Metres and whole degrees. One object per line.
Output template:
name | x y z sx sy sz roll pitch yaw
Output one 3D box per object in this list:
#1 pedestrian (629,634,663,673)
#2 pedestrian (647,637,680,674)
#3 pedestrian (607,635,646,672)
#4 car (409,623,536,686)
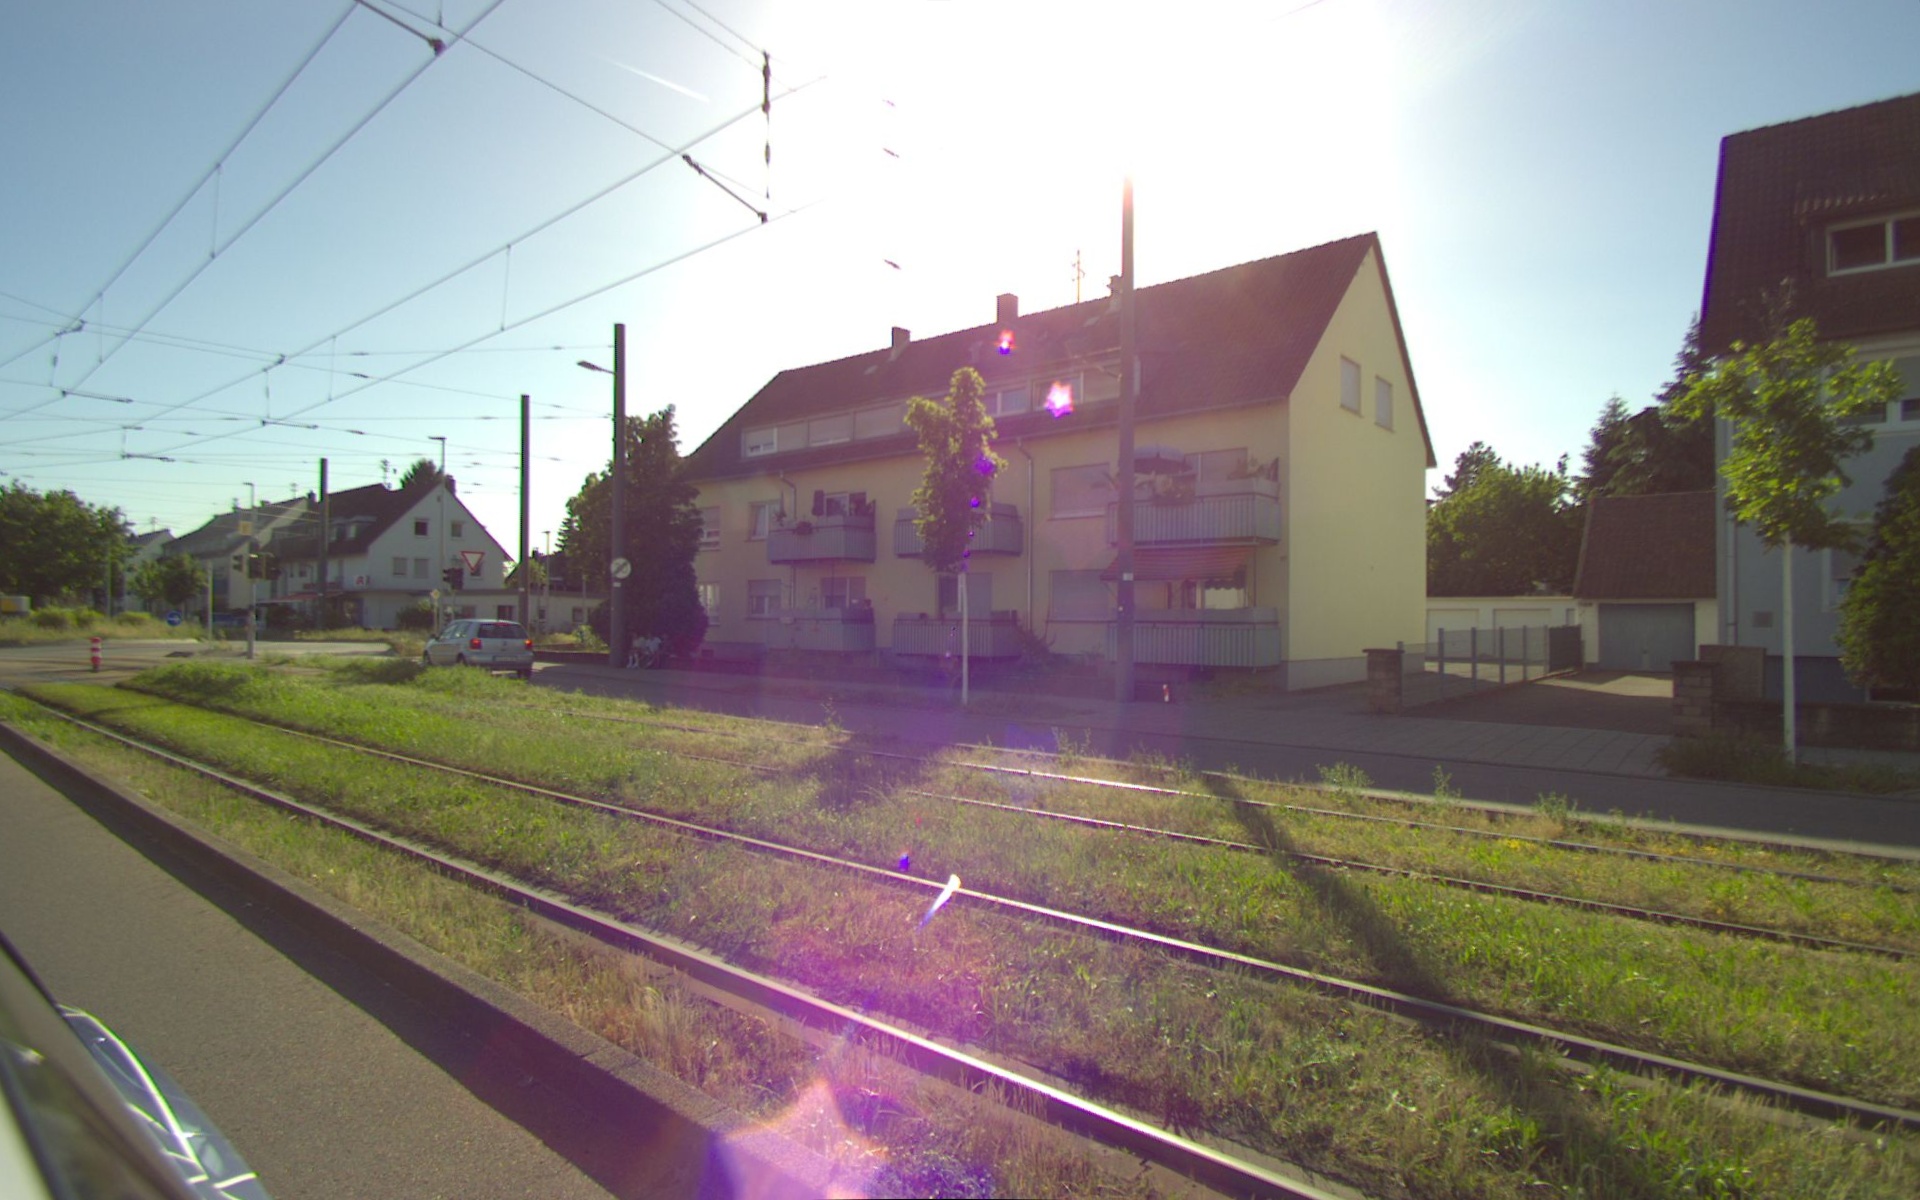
pedestrian | -8.986 1.528 28.983 0.619 1.073 0.818 2 -1 8
pedestrian | -8.376 1.557 28.607 0.590 1.013 0.720 1 -1 17
pedestrian | -9.704 1.544 29.465 0.687 1.054 0.809 0 -1 38
car | -11.923 1.275 24.660 3.658 1.422 1.533 -1 -2 42
